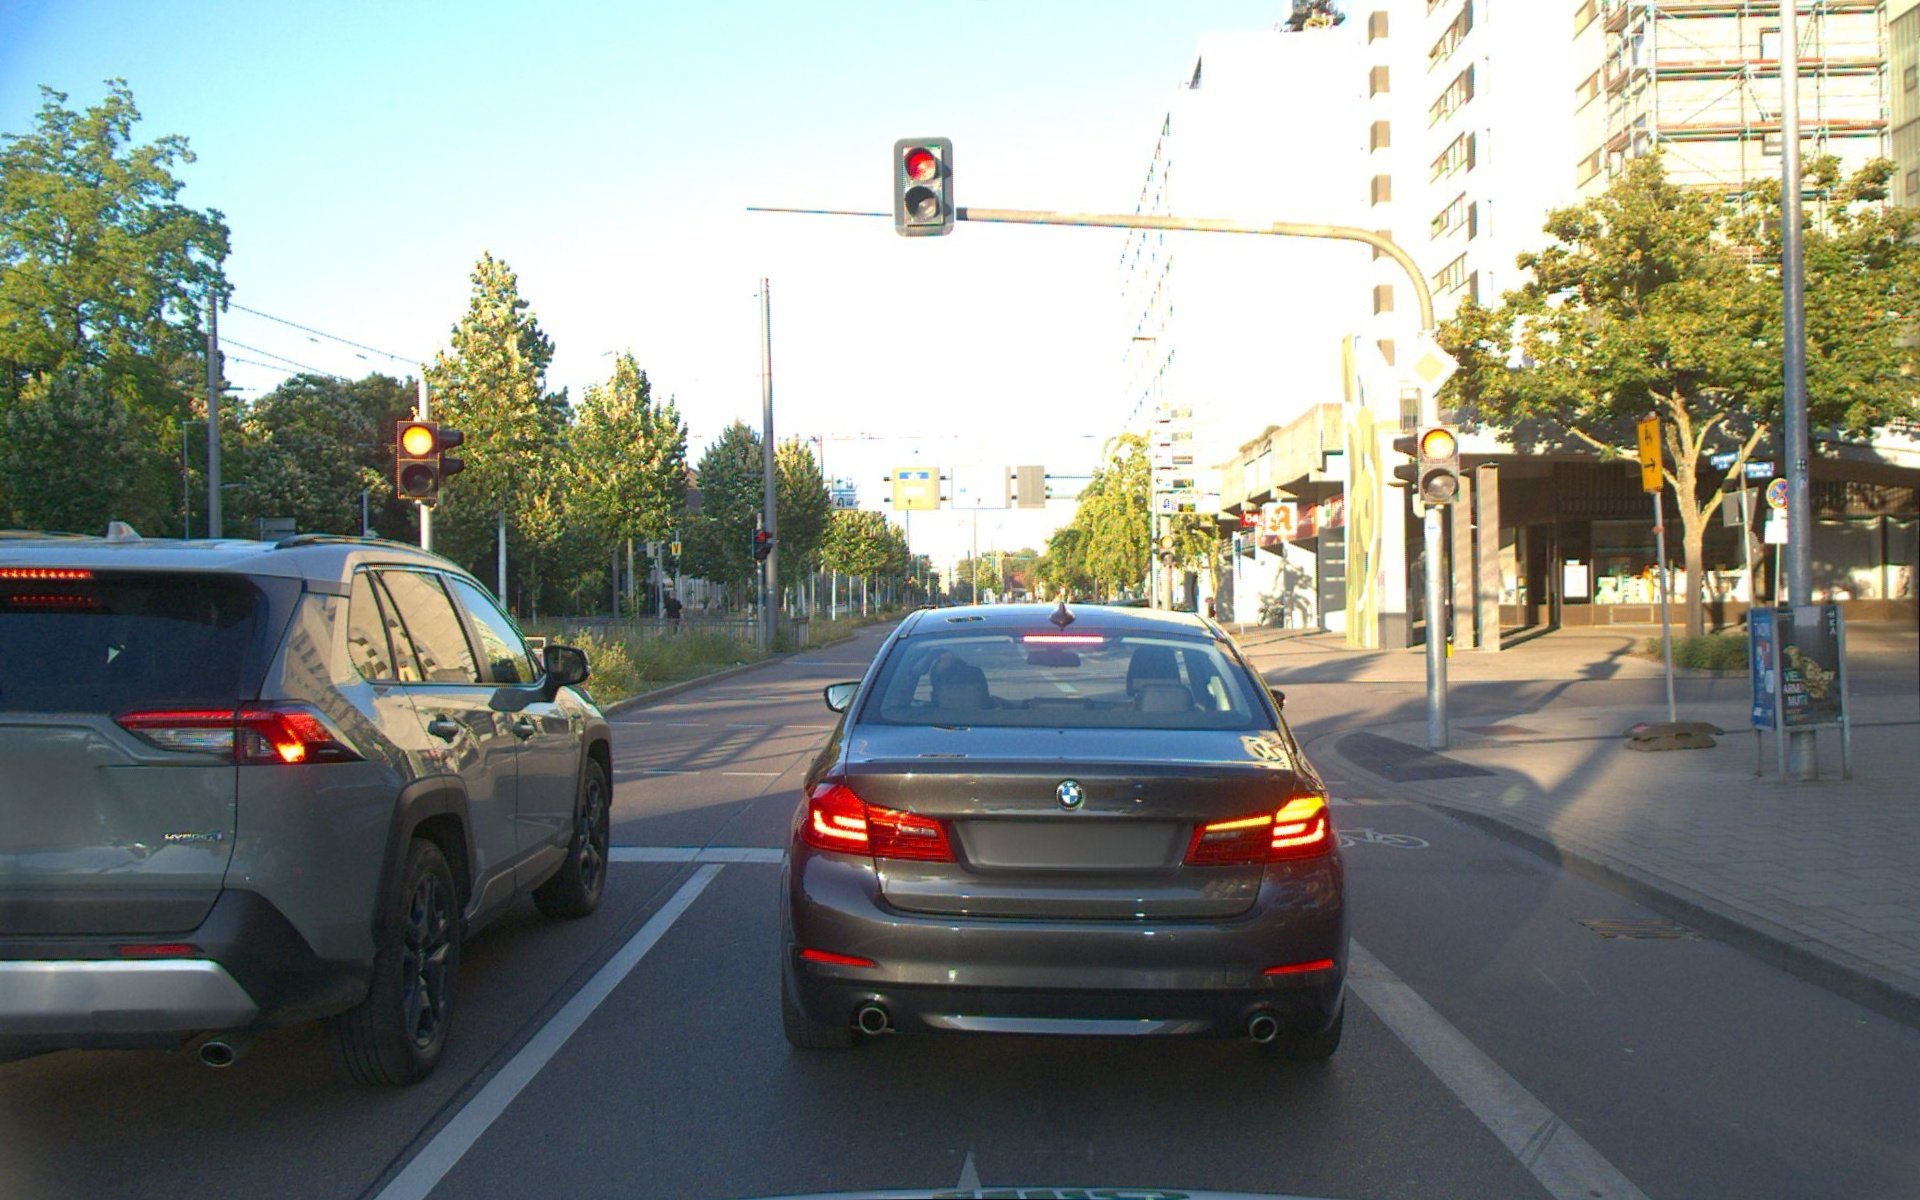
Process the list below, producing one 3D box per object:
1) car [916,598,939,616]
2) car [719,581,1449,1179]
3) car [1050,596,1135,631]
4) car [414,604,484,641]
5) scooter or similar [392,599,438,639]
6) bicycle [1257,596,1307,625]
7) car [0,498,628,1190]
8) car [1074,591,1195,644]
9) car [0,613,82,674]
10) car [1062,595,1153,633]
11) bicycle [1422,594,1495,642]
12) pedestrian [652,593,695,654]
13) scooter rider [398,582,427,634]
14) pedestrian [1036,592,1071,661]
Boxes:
[{"bbox_3d":[-2.841,0.631,146.888,1.938,1.458,4.843,0,1,0],"label":"car"},{"bbox_3d":[0.362,0.705,6.575,1.892,1.507,4.523,0,1,1],"label":"car"},{"bbox_3d":[6.838,0.667,85.242,4.219,1.687,1.838,0,1,-36],"label":"car"},{"bbox_3d":[-21.789,0.931,70.664,1.763,1.507,3.783,-1,0,0],"label":"car"},{"bbox_3d":[-16.606,0.577,50.402,1.309,1.173,0.511,-1,0,-19],"label":"scooter or similar"},{"bbox_3d":[13.455,0.442,69.160,1.974,1.169,0.691,2,-1,6],"label":"bicycle"},{"bbox_3d":[-2.501,0.552,6.156,1.817,1.687,4.267,0,1,-2],"label":"car"},{"bbox_3d":[5.996,0.567,56.714,4.234,1.687,1.831,-1,1,-43],"label":"car"},{"bbox_3d":[-26.662,1.196,45.906,1.952,1.507,4.525,0,1,4],"label":"car"},{"bbox_3d":[7.075,0.639,79.101,4.221,1.687,1.837,0,1,-36],"label":"car"},{"bbox_3d":[12.496,0.452,41.519,0.678,1.169,2.012,2,-1,-18],"label":"bicycle"},{"bbox_3d":[-7.722,0.635,44.518,0.806,1.614,0.824,-1,0,-44],"label":"pedestrian"},{"bbox_3d":[-16.678,0.238,50.379,0.808,1.540,0.649,-1,0,-18],"label":"scooter rider"},{"bbox_3d":[2.426,0.676,42.824,0.818,1.742,0.647,-1,0,-2],"label":"pedestrian"}]
